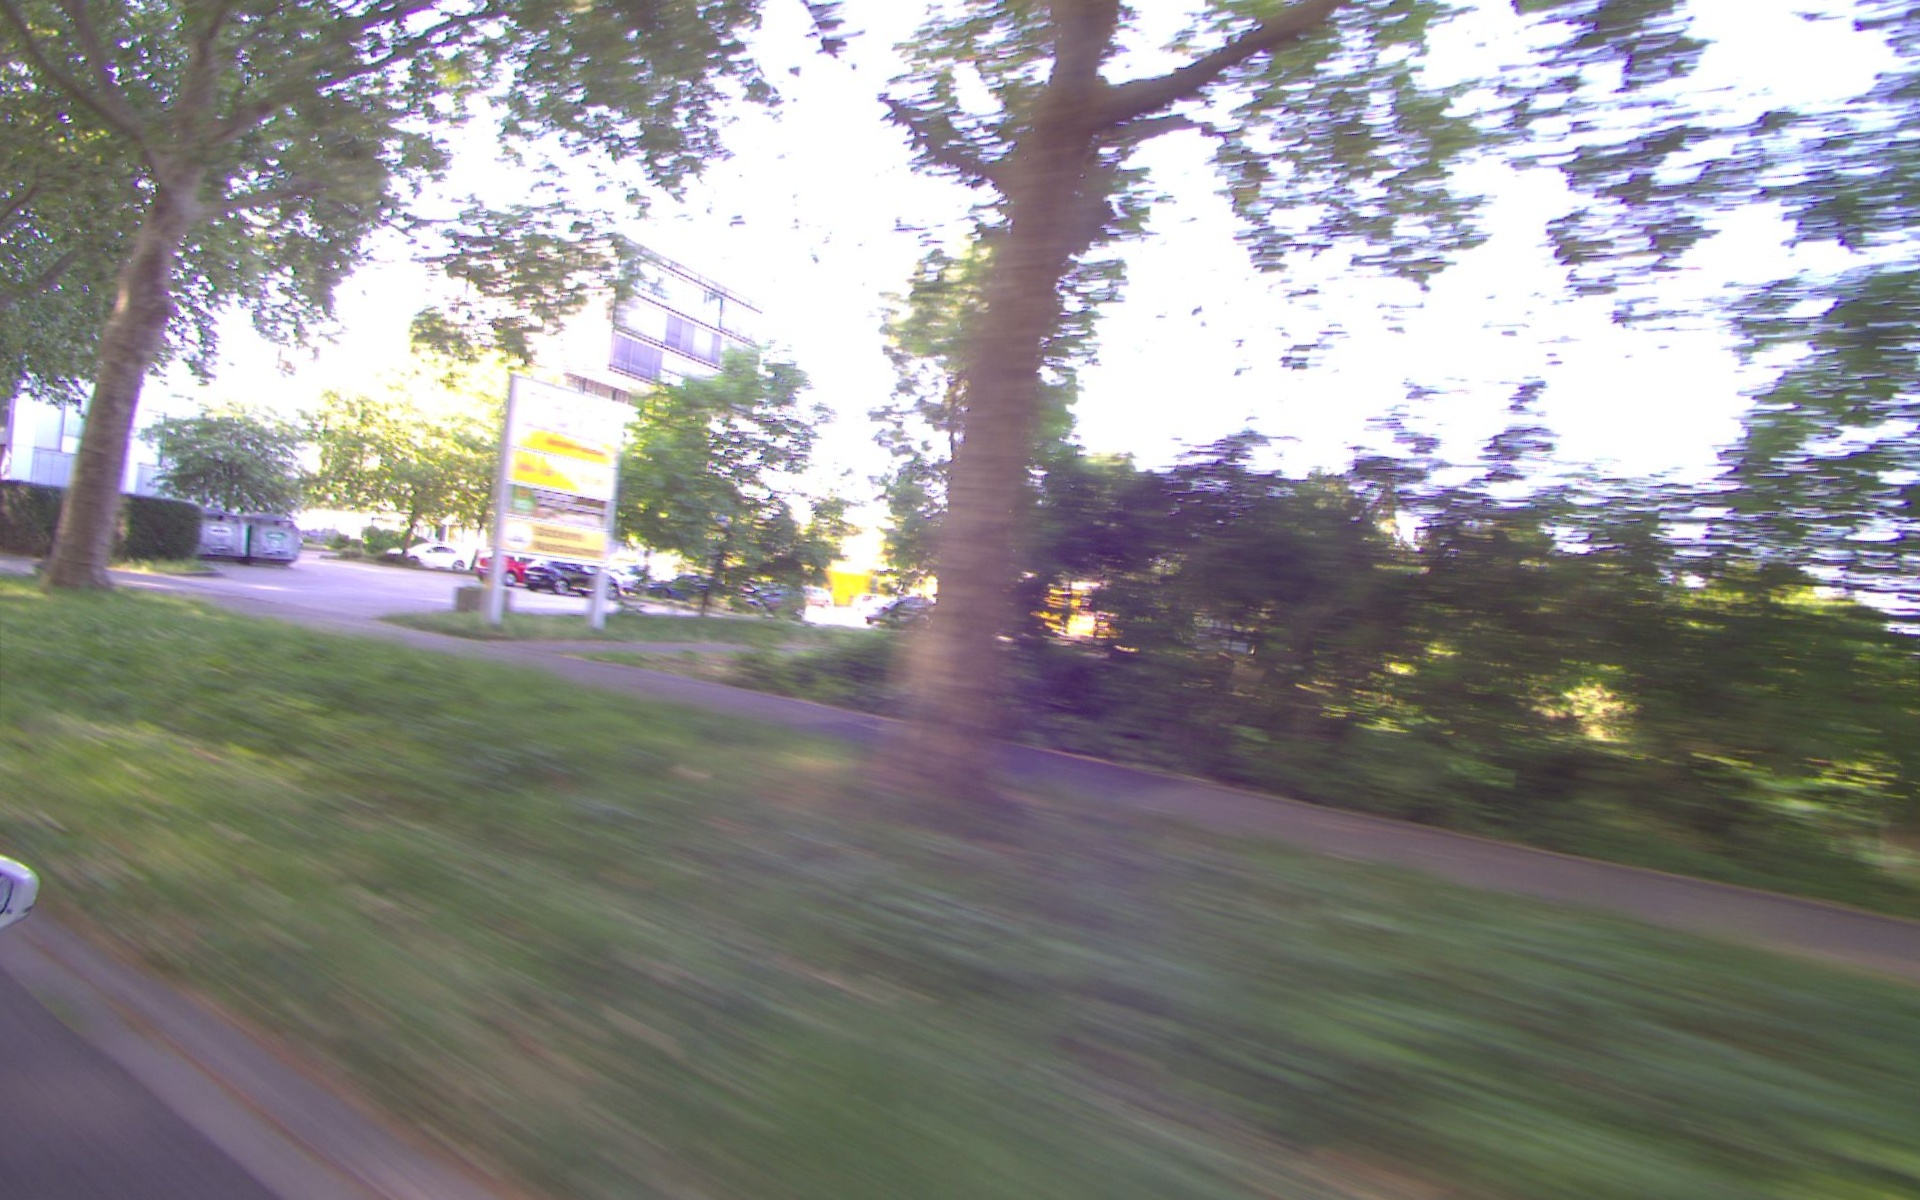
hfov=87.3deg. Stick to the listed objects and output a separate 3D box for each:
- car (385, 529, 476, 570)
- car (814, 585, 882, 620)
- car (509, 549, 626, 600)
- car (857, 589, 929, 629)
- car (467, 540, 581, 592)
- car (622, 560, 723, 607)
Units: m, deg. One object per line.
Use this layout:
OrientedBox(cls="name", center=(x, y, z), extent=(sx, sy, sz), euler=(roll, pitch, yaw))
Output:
OrientedBox(cls="car", center=(-30.083, -2.862, 57.245), extent=(1.968, 1.794, 3.988), euler=(7, 0, 34))
OrientedBox(cls="car", center=(-6.516, 0.170, 59.021), extent=(1.832, 1.586, 3.995), euler=(7, -1, 29))
OrientedBox(cls="car", center=(-15.436, -0.973, 39.724), extent=(1.831, 1.459, 3.996), euler=(7, 0, 27))
OrientedBox(cls="car", center=(-3.471, 0.497, 52.578), extent=(1.831, 1.586, 3.997), euler=(7, -1, 27))
OrientedBox(cls="car", center=(-18.111, -1.388, 41.995), extent=(1.831, 1.586, 3.997), euler=(7, -1, 27))
OrientedBox(cls="car", center=(-13.077, -0.750, 45.982), extent=(1.836, 1.586, 3.985), euler=(7, -1, 39))
